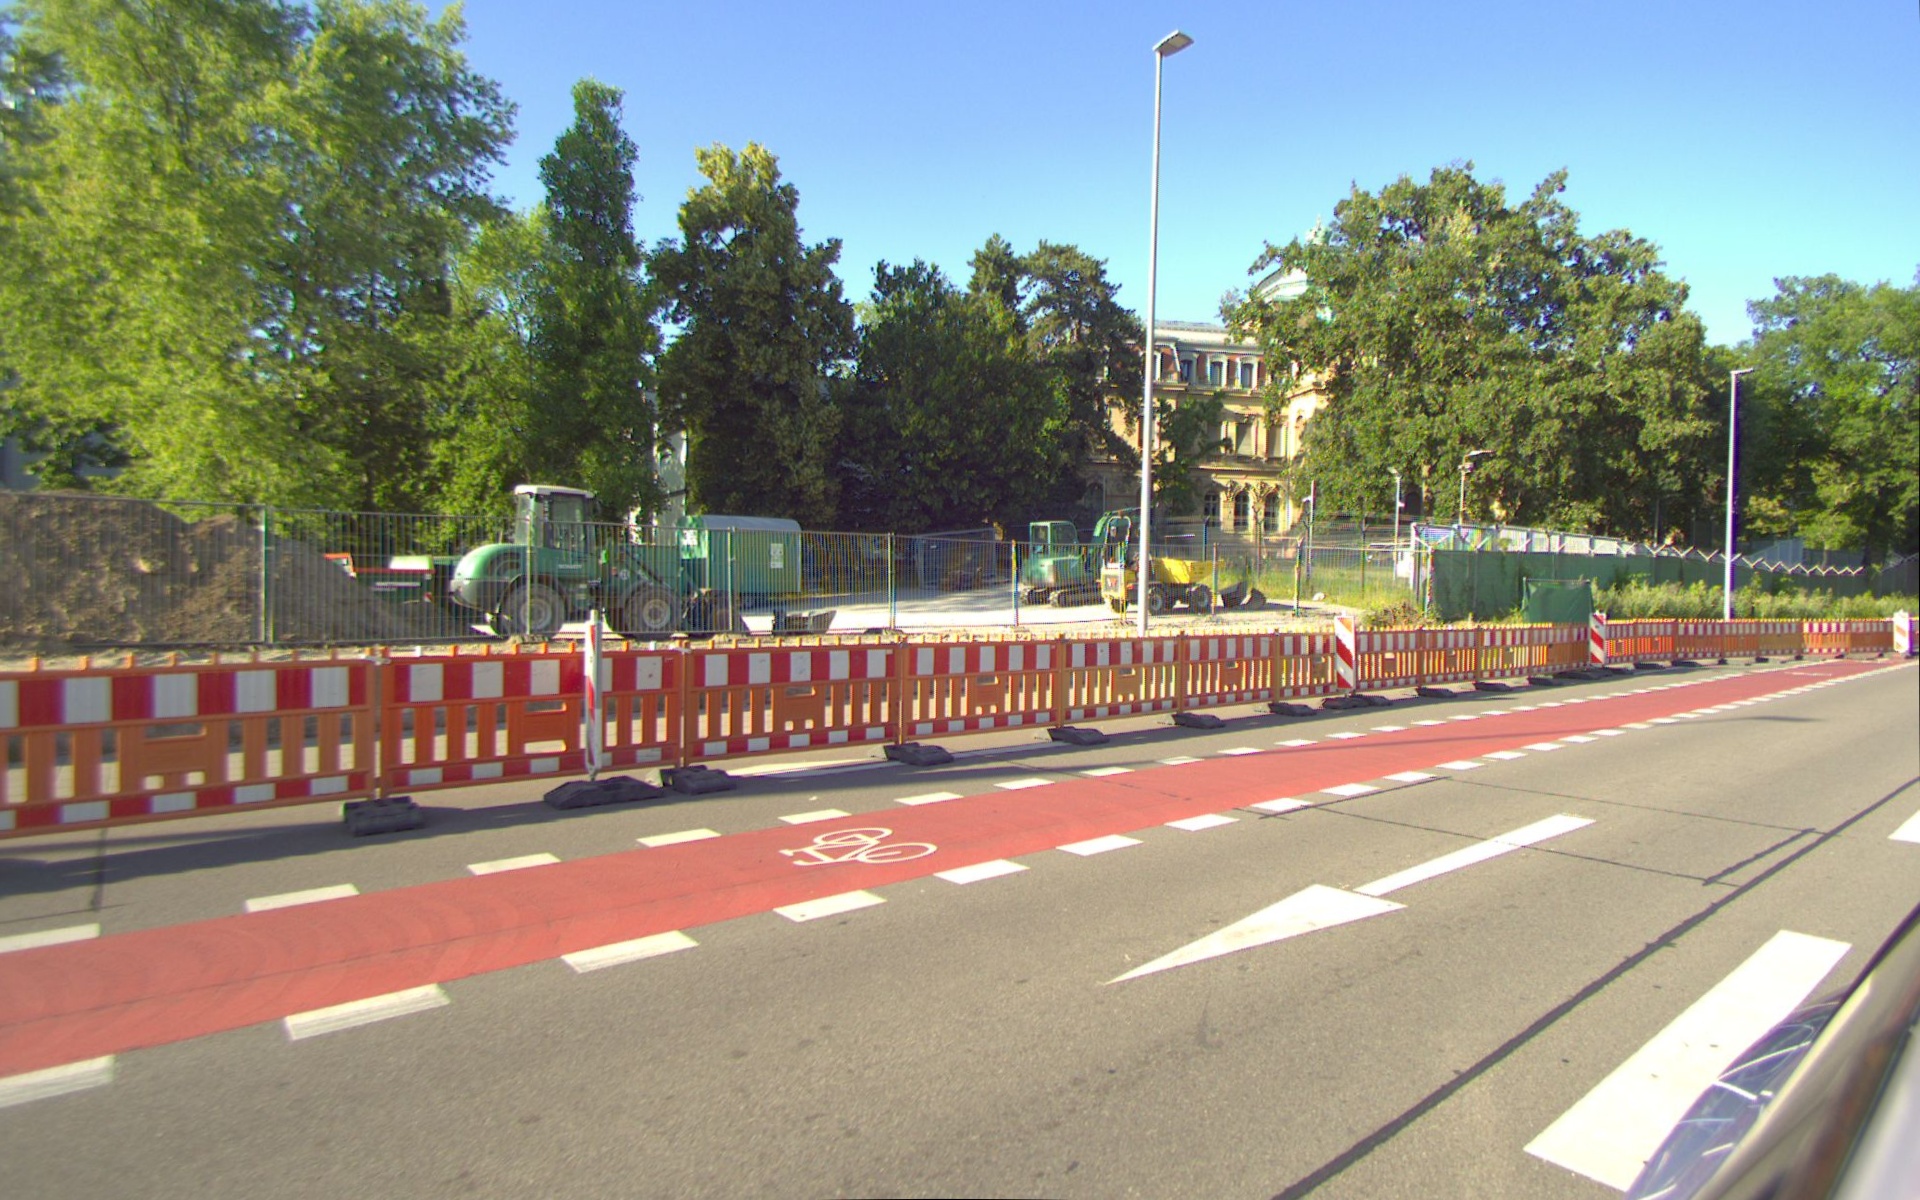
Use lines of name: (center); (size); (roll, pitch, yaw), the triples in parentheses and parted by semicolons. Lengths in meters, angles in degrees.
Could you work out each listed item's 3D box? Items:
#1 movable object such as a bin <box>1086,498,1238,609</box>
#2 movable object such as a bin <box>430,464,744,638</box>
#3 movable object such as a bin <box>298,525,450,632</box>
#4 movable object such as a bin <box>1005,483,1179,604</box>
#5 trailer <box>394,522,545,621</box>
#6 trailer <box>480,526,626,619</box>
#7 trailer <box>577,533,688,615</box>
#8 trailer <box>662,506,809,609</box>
movable object such as a bin: (5.778, -1.271, 28.817); (3.922, 2.940, 2.001); (0, 1, -33)
movable object such as a bin: (-6.651, -0.804, 18.329); (4.854, 2.737, 2.281); (0, 1, -40)
movable object such as a bin: (-15.000, -0.642, 25.764); (2.189, 2.349, 5.038); (-7, 7, -42)
movable object such as a bin: (4.293, -1.702, 32.504); (5.394, 3.602, 2.284); (0, 1, -35)
trailer: (-13.388, -0.850, 27.468); (2.189, 2.349, 5.038); (-7, 7, -42)
trailer: (-11.892, -0.876, 29.386); (2.189, 2.349, 5.038); (-7, 7, -42)
trailer: (-10.342, -0.873, 31.890); (2.189, 2.349, 2.950); (-7, 7, -42)
trailer: (-7.544, -1.499, 34.136); (3.922, 3.126, 2.613); (-7, 7, -43)
